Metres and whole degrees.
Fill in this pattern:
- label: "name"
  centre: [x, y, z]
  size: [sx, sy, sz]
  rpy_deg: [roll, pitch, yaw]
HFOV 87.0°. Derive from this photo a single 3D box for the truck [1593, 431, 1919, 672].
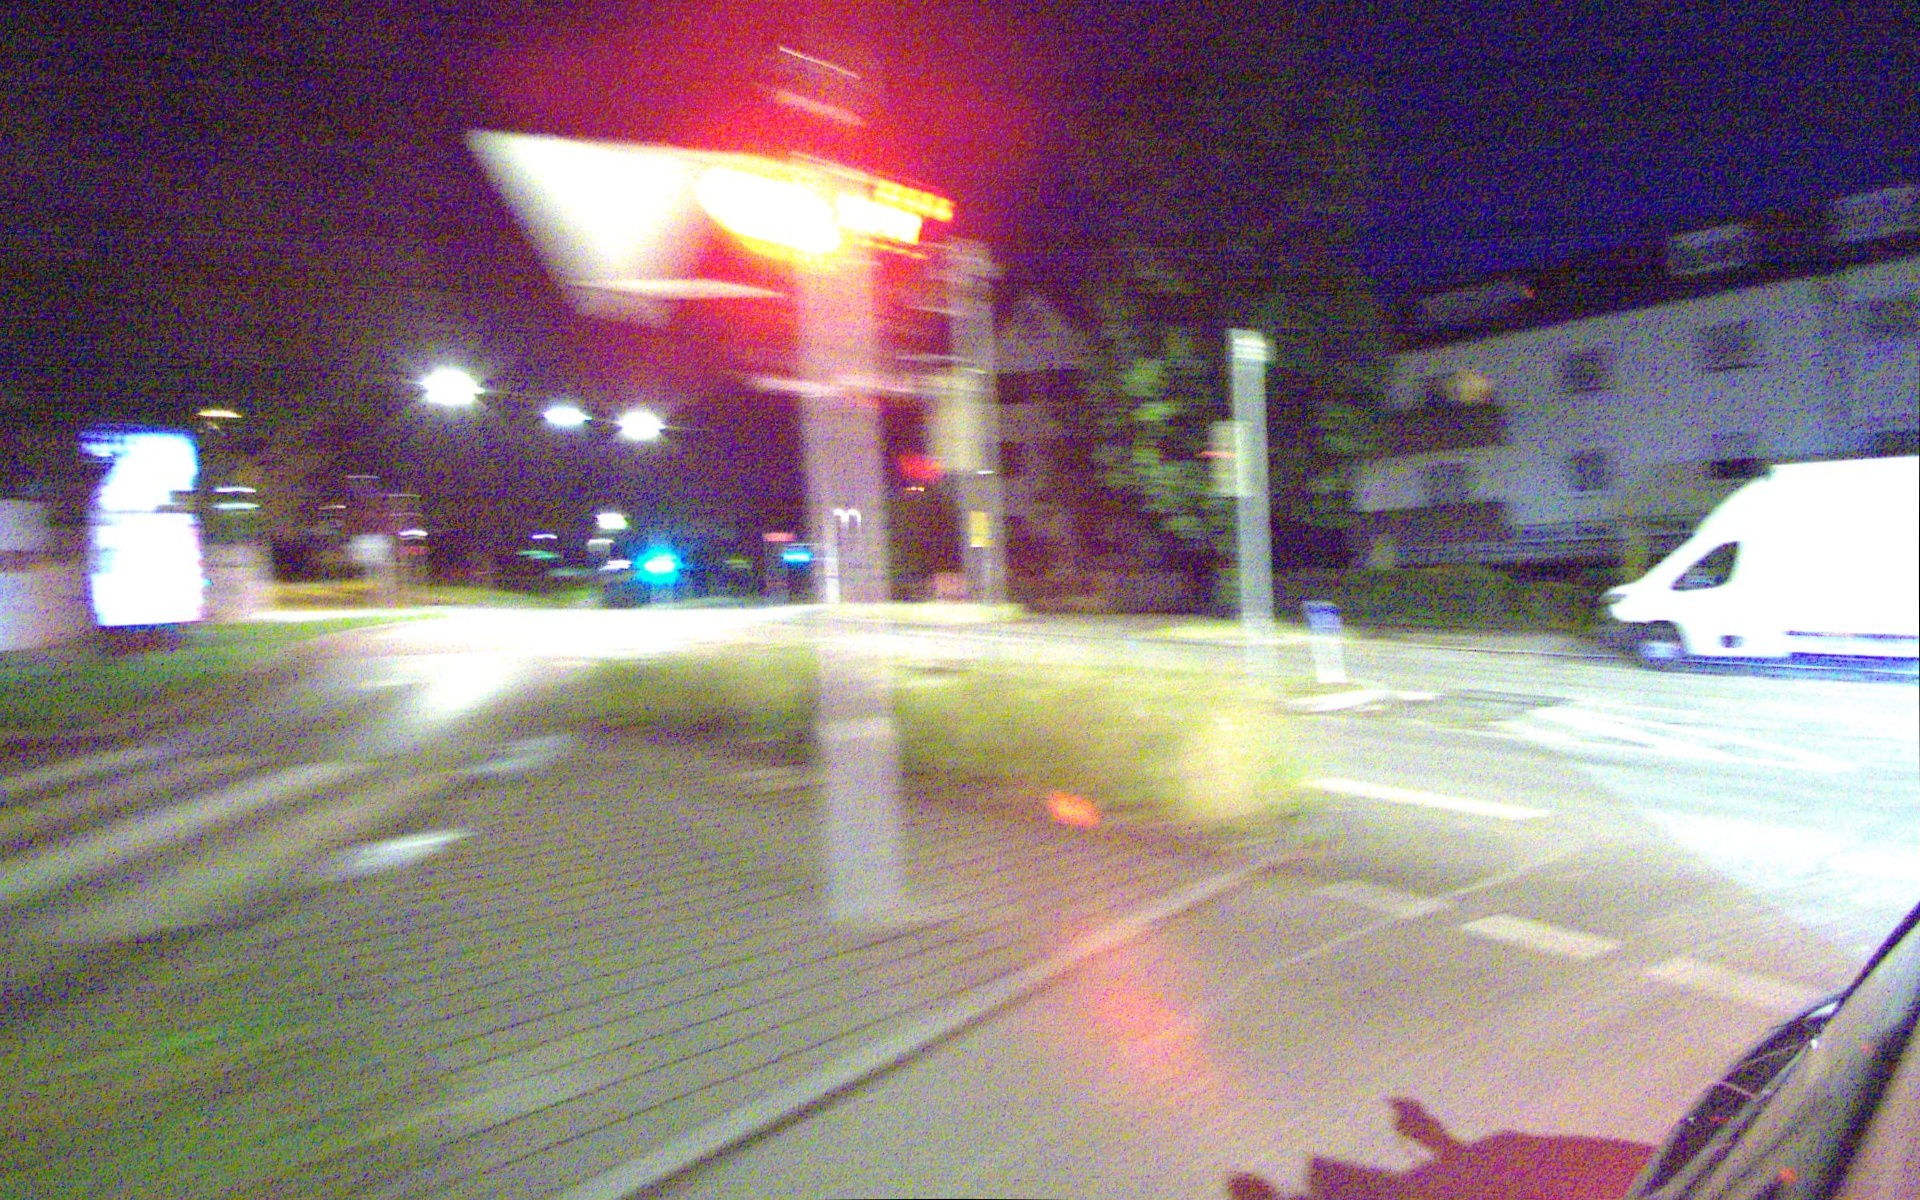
- label: "truck"
  centre: [13.111, -0.715, 13.974]
  size: [7.016, 3.080, 2.730]
  rpy_deg: [1, 5, 45]
